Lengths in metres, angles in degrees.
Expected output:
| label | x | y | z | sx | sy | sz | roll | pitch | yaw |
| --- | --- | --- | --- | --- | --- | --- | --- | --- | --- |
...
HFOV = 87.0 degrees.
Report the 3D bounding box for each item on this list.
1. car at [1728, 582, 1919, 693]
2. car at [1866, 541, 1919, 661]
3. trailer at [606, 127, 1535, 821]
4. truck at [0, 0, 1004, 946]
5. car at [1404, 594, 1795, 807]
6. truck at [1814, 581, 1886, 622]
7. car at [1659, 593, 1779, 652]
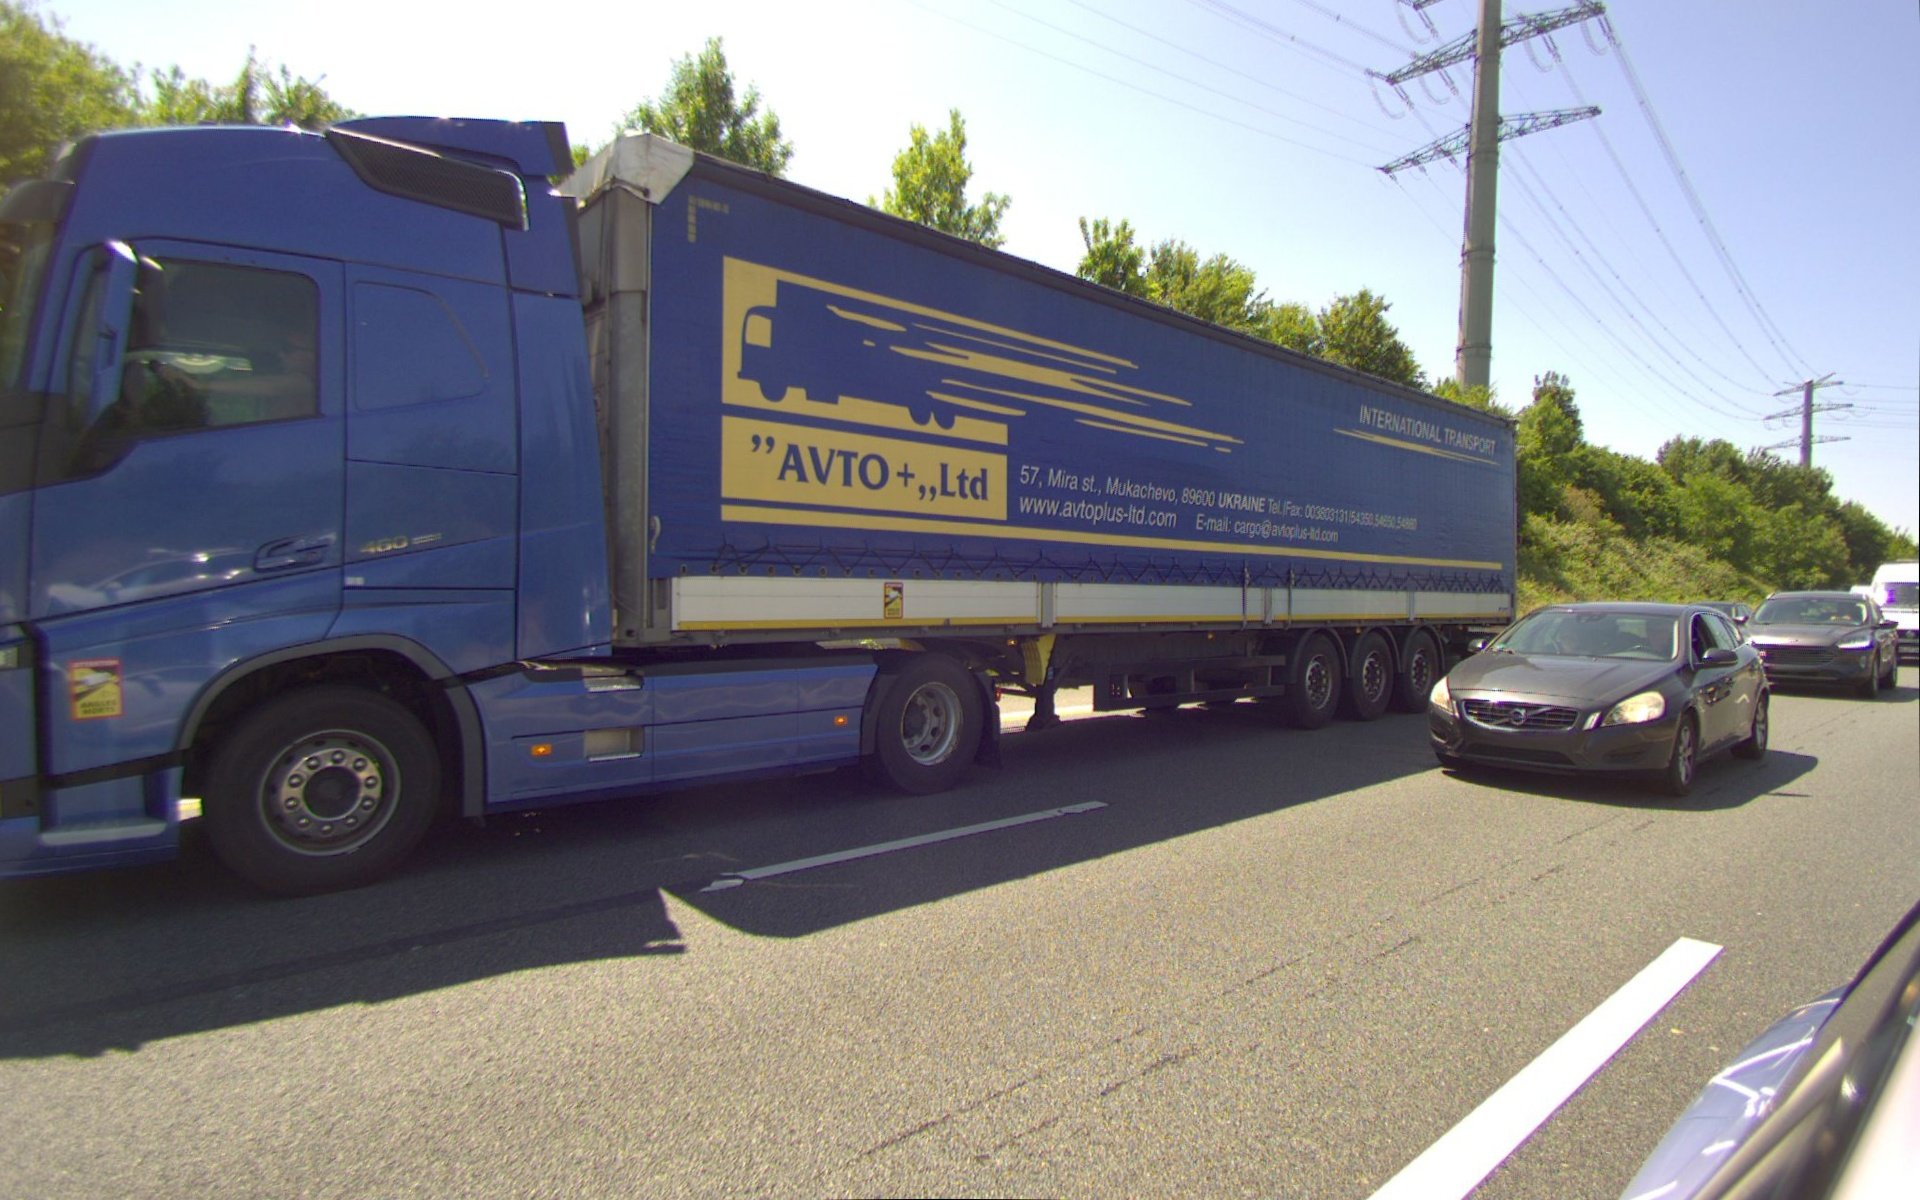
| label | x | y | z | sx | sy | sz | roll | pitch | yaw |
| --- | --- | --- | --- | --- | --- | --- | --- | --- | --- |
| car | 14.500 | 0.537 | 16.909 | 4.147 | 1.631 | 1.891 | 0 | 0 | -41 |
| car | 24.604 | 0.007 | 25.402 | 6.590 | 2.753 | 2.040 | 0 | 0 | -42 |
| trailer | 2.698 | -0.823 | 11.543 | 12.655 | 4.317 | 2.771 | 0 | 0 | -42 |
| truck | -2.662 | -0.768 | 6.773 | 5.538 | 4.197 | 2.790 | 0 | 0 | -41 |
| car | 5.865 | 0.671 | 9.039 | 4.432 | 1.437 | 1.798 | 0 | 0 | -41 |
| truck | 49.273 | 0.069 | 56.010 | 5.628 | 2.195 | 2.251 | 0 | 0 | -41 |
| car | 21.519 | 0.580 | 28.607 | 4.770 | 1.531 | 1.794 | 0 | 0 | -41 |
